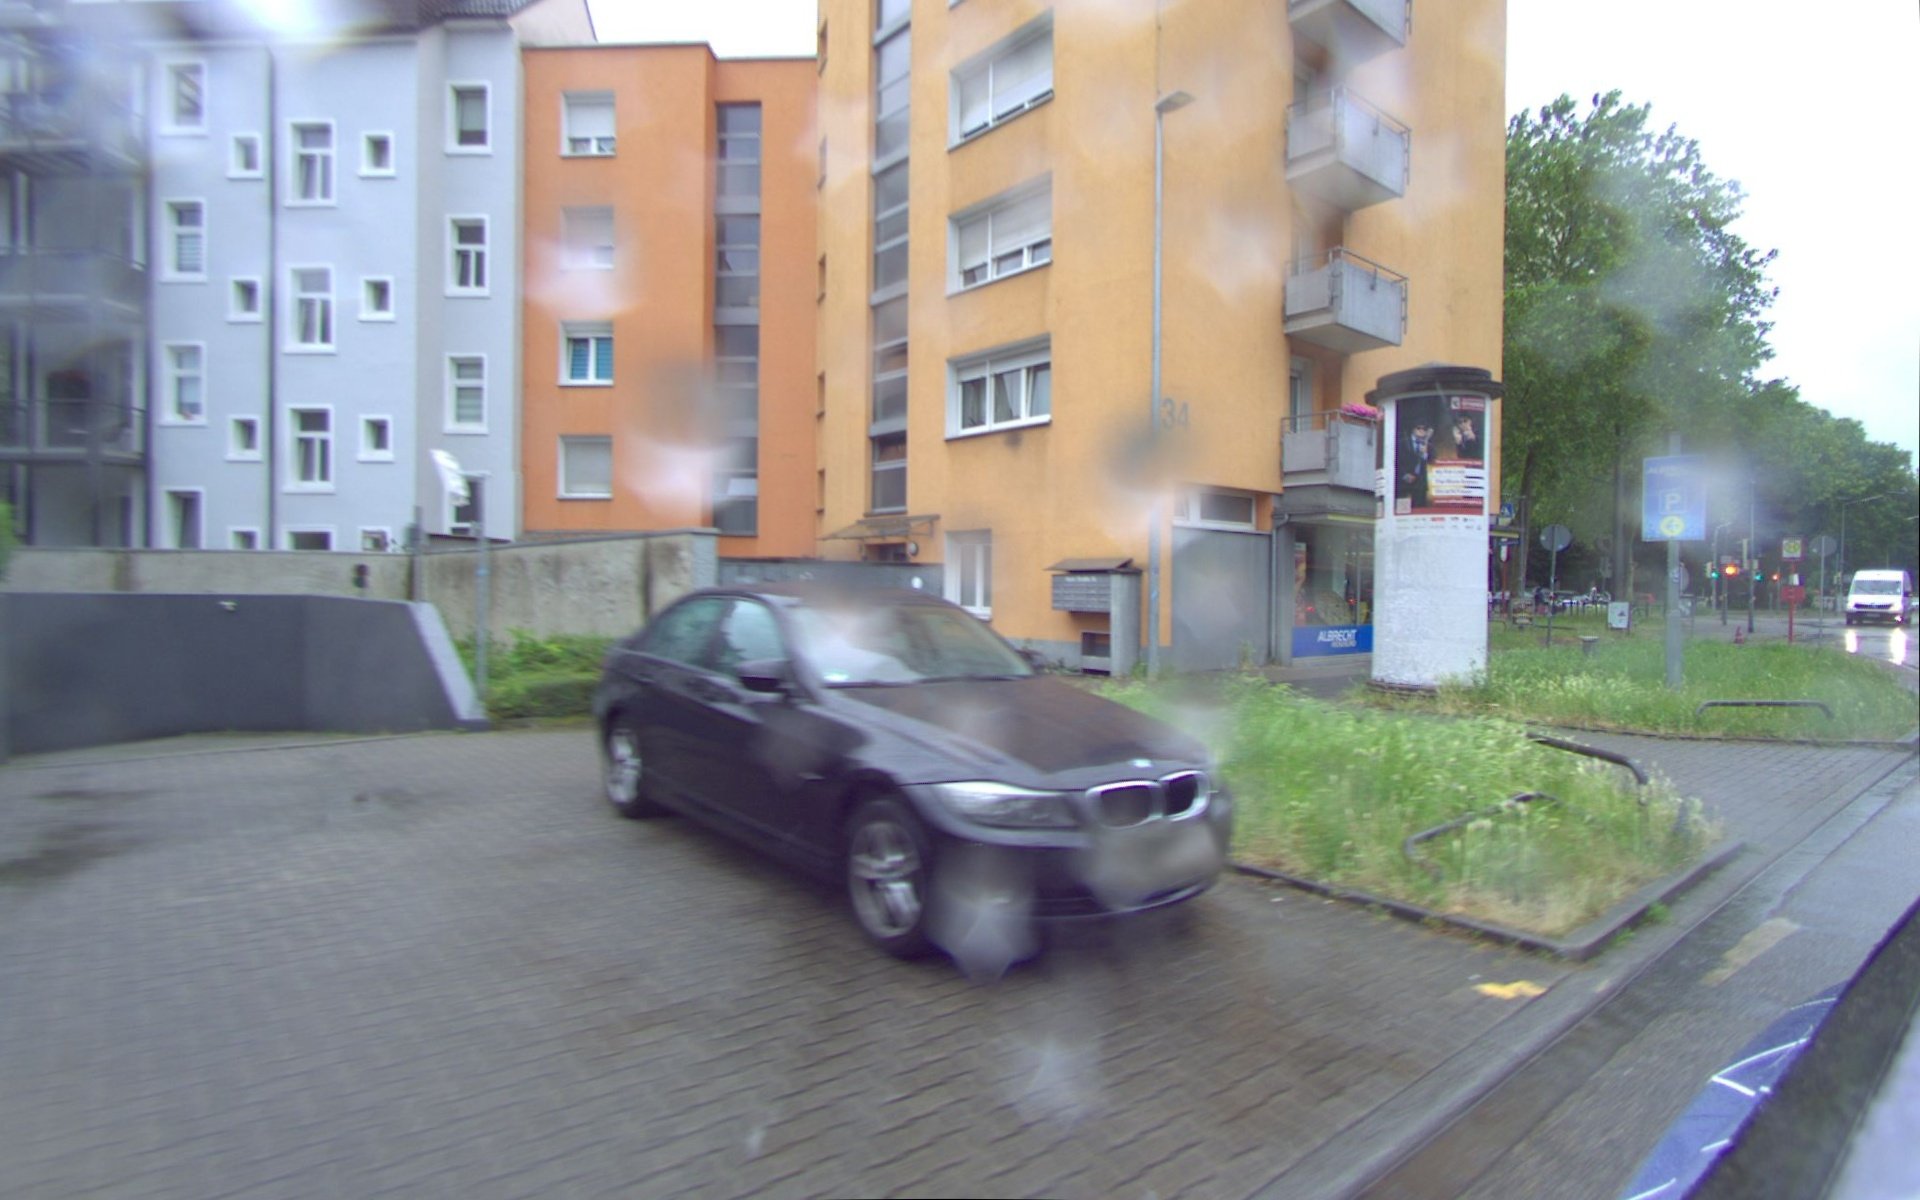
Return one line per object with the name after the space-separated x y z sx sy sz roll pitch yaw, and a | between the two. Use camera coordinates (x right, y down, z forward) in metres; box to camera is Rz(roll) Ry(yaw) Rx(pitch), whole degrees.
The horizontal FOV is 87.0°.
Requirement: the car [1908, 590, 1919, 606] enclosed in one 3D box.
86.748 -0.179 90.831 4.195 1.478 1.821 0 0 -39 | car

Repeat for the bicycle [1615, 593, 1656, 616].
32.539 0.224 48.780 1.601 1.090 0.442 0 0 25 | bicycle

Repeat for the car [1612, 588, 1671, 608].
51.843 -0.159 77.050 1.812 1.544 3.452 0 0 -44 | car

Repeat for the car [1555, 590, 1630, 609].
42.808 -0.032 68.548 4.151 1.291 1.876 0 0 39 | car

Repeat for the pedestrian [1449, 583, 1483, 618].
26.514 0.026 53.066 1.016 1.811 1.239 0 0 -17 | pedestrian

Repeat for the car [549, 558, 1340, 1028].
-0.521 0.555 5.578 1.948 1.488 4.542 -1 2 -40 | car

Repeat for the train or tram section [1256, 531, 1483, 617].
16.734 -1.034 41.815 8.227 3.412 2.643 0 0 5 | train or tram section

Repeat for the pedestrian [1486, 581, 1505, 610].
29.058 -0.254 54.924 0.750 1.567 0.689 1 0 14 | pedestrian

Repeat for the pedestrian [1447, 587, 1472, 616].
27.519 0.077 55.727 1.049 1.545 0.875 0 0 15 | pedestrian

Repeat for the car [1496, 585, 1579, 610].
35.326 -0.159 61.978 4.159 1.479 1.965 1 0 41 | car

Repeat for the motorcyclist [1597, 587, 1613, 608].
41.977 -0.174 65.872 0.752 1.368 0.746 0 0 43 | motorcyclist

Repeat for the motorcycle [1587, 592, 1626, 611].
42.044 0.103 65.825 2.067 1.230 0.867 0 0 44 | motorcycle

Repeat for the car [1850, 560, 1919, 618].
44.100 -0.508 47.727 6.396 2.594 2.281 0 0 -40 | car

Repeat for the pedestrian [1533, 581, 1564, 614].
31.422 -0.143 54.073 0.976 1.707 1.057 1 1 -28 | pedestrian

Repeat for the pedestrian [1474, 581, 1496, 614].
29.090 -0.160 56.109 0.984 1.803 0.805 1 1 25 | pedestrian
